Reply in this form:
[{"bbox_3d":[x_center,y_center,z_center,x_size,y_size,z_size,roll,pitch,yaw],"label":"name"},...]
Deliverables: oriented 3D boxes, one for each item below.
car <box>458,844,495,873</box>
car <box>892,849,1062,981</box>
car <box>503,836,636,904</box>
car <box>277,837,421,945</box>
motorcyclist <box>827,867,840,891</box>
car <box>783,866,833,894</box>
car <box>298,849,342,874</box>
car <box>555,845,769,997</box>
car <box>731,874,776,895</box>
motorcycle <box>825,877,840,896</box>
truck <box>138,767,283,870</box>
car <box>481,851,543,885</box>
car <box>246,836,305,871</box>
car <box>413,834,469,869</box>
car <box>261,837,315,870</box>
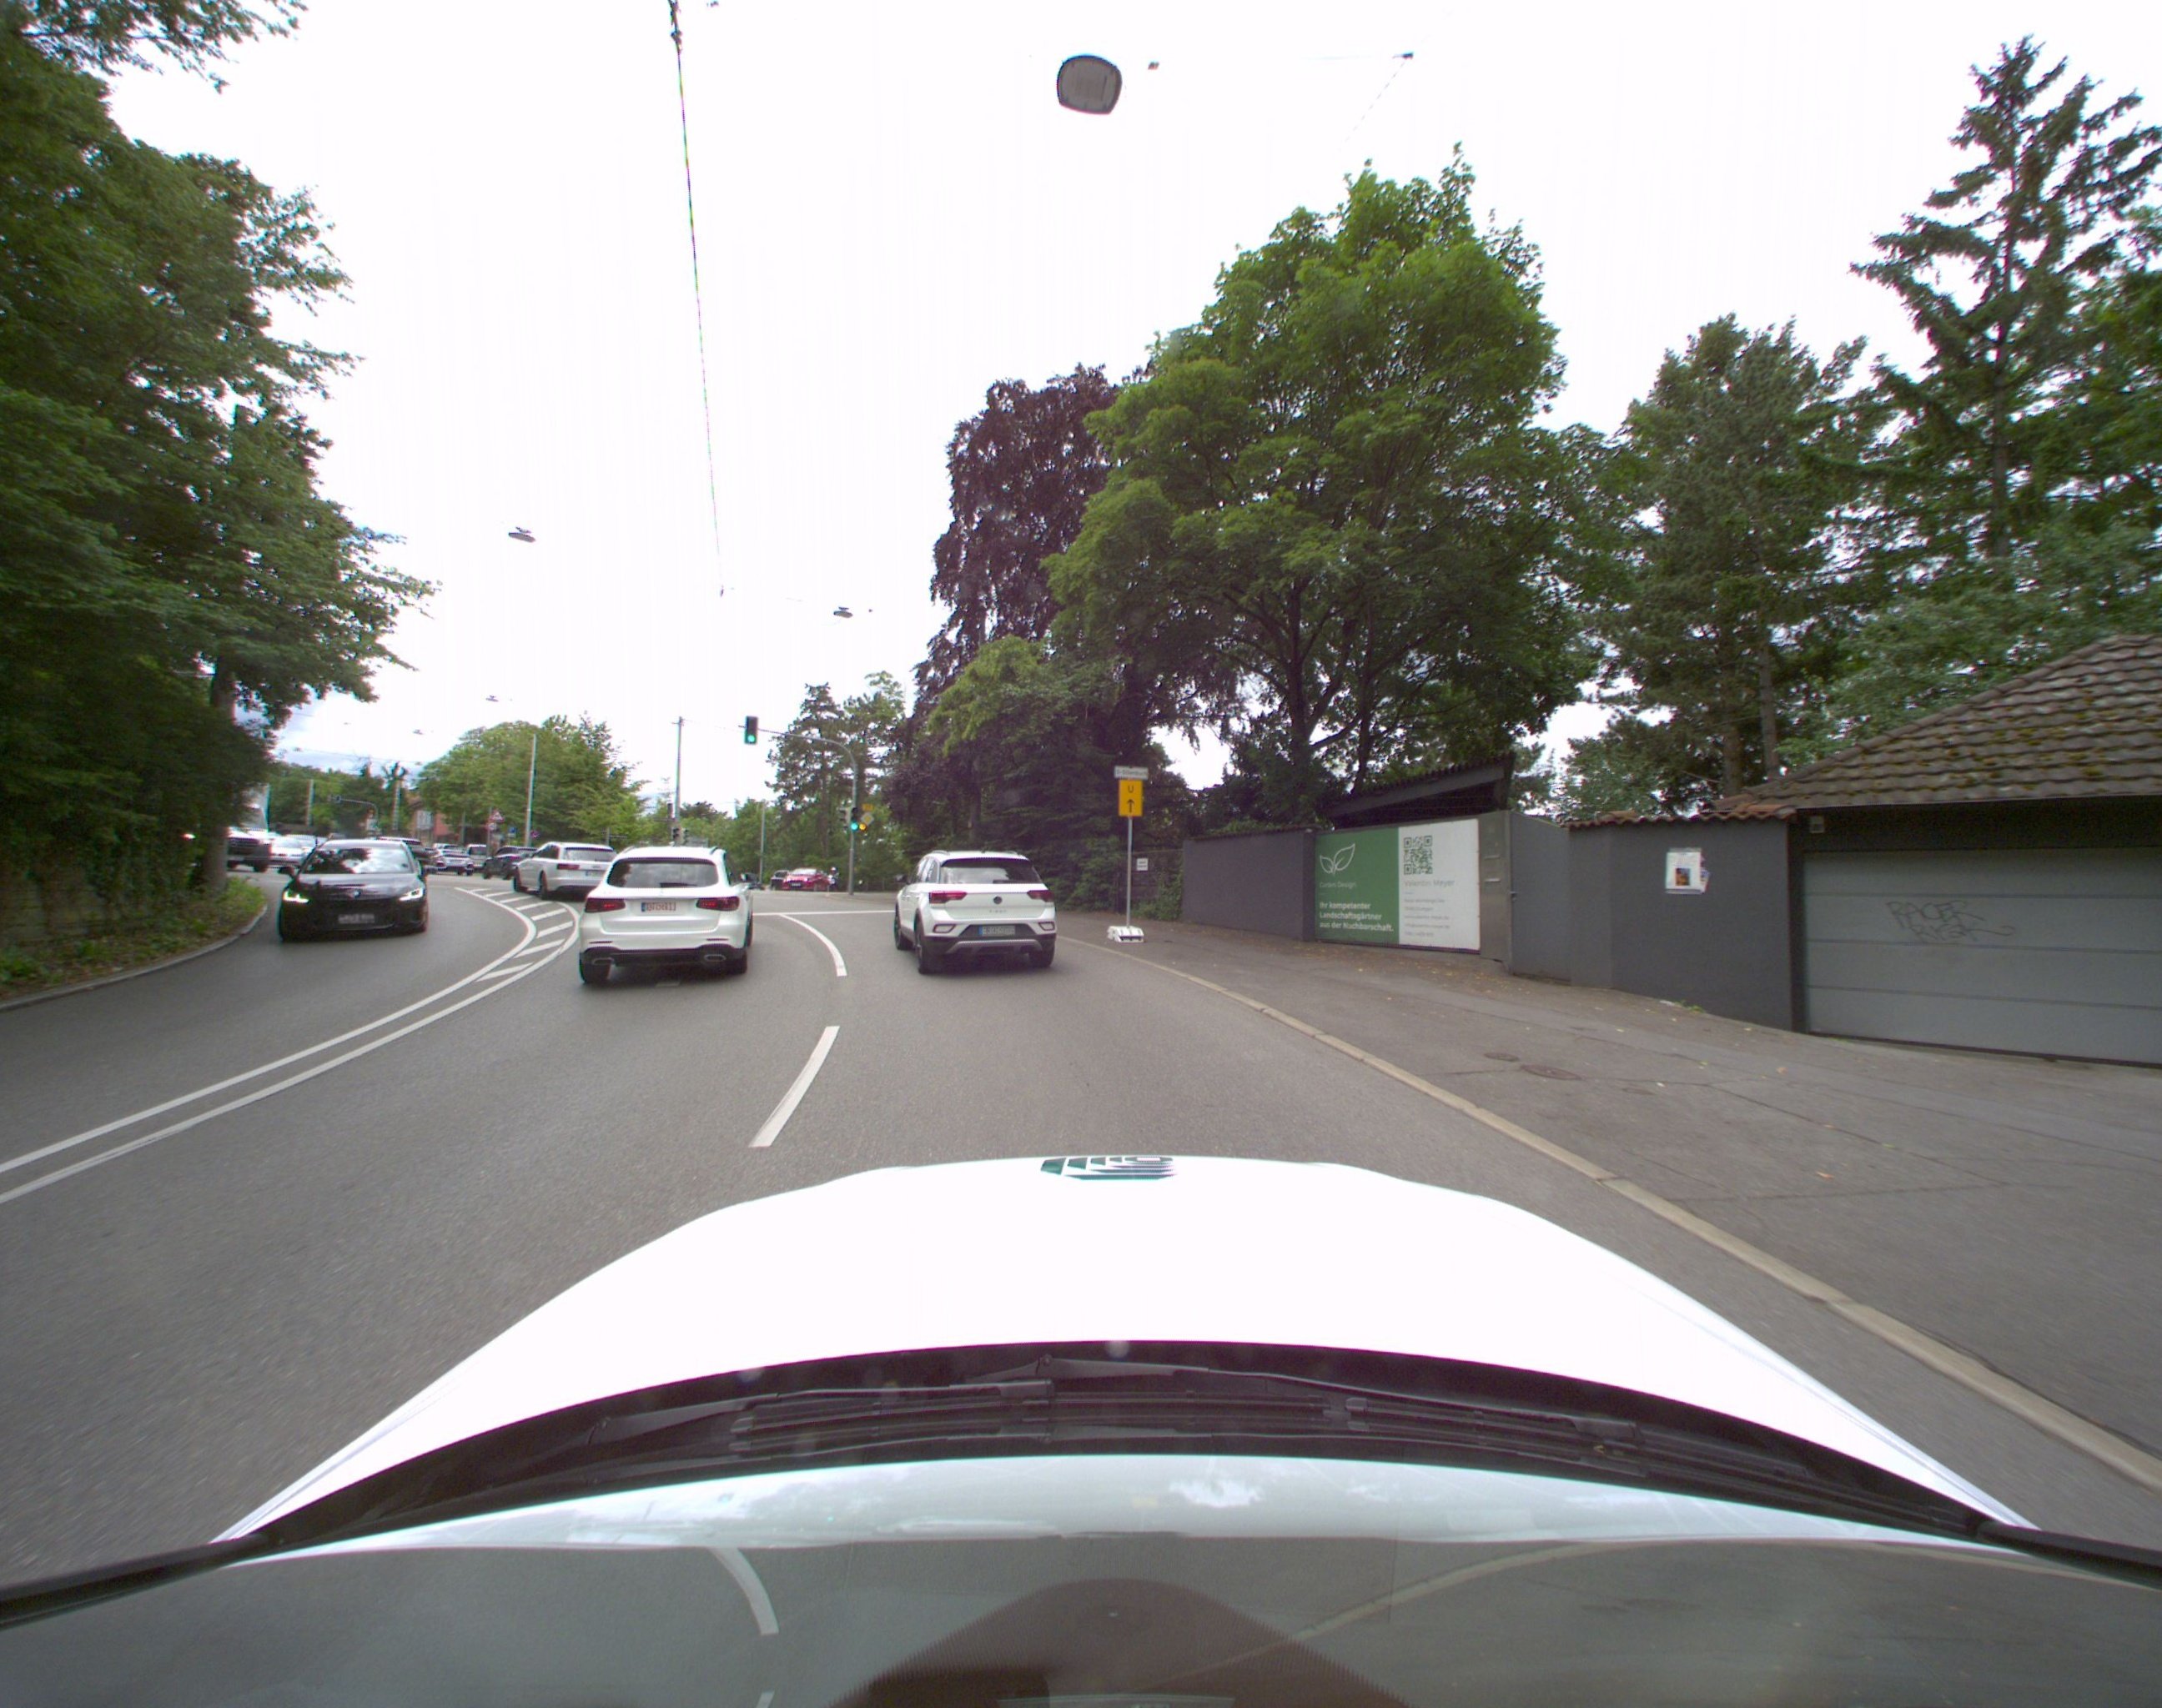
[{"bbox_3d":[-40.081,0.285,53.981,1.507,1.749,3.080,5,-3,-44],"label":"car"},{"bbox_3d":[-1.722,0.710,11.998,1.759,1.552,4.312,-1,0,-17],"label":"car"},{"bbox_3d":[-13.841,0.378,21.911,4.717,1.534,1.882,3,1,44],"label":"car"},{"bbox_3d":[-12.966,0.528,14.632,1.616,1.573,4.017,-2,3,-38],"label":"car"},{"bbox_3d":[-15.502,1.565,50.974,0.598,1.430,0.755,0,-2,-5],"label":"motorcyclist"},{"bbox_3d":[-15.580,1.501,46.660,1.663,1.468,3.950,0,-4,-3],"label":"car"},{"bbox_3d":[-53.159,0.515,56.968,1.909,1.568,4.427,7,-4,-40],"label":"car"},{"bbox_3d":[-5.560,0.710,11.459,1.864,1.605,4.643,-2,1,-18],"label":"car"},{"bbox_3d":[-24.480,2.290,60.837,1.732,1.486,3.950,4,-5,-45],"label":"car"},{"bbox_3d":[-15.544,2.017,51.007,0.598,1.152,1.578,0,-2,-5],"label":"motorcycle"},{"bbox_3d":[-29.061,-1.202,27.123,6.263,3.088,2.425,3,2,35],"label":"truck"},{"bbox_3d":[-25.649,0.593,36.658,3.807,1.419,1.643,0,1,45],"label":"car"},{"bbox_3d":[-38.194,-0.029,38.678,1.771,1.443,4.425,7,-5,-43],"label":"car"},{"bbox_3d":[-35.593,-0.143,45.292,3.949,1.820,1.649,0,-1,40],"label":"car"},{"bbox_3d":[-45.470,-0.032,46.698,2.011,1.637,4.343,7,-5,-44],"label":"car"}]
